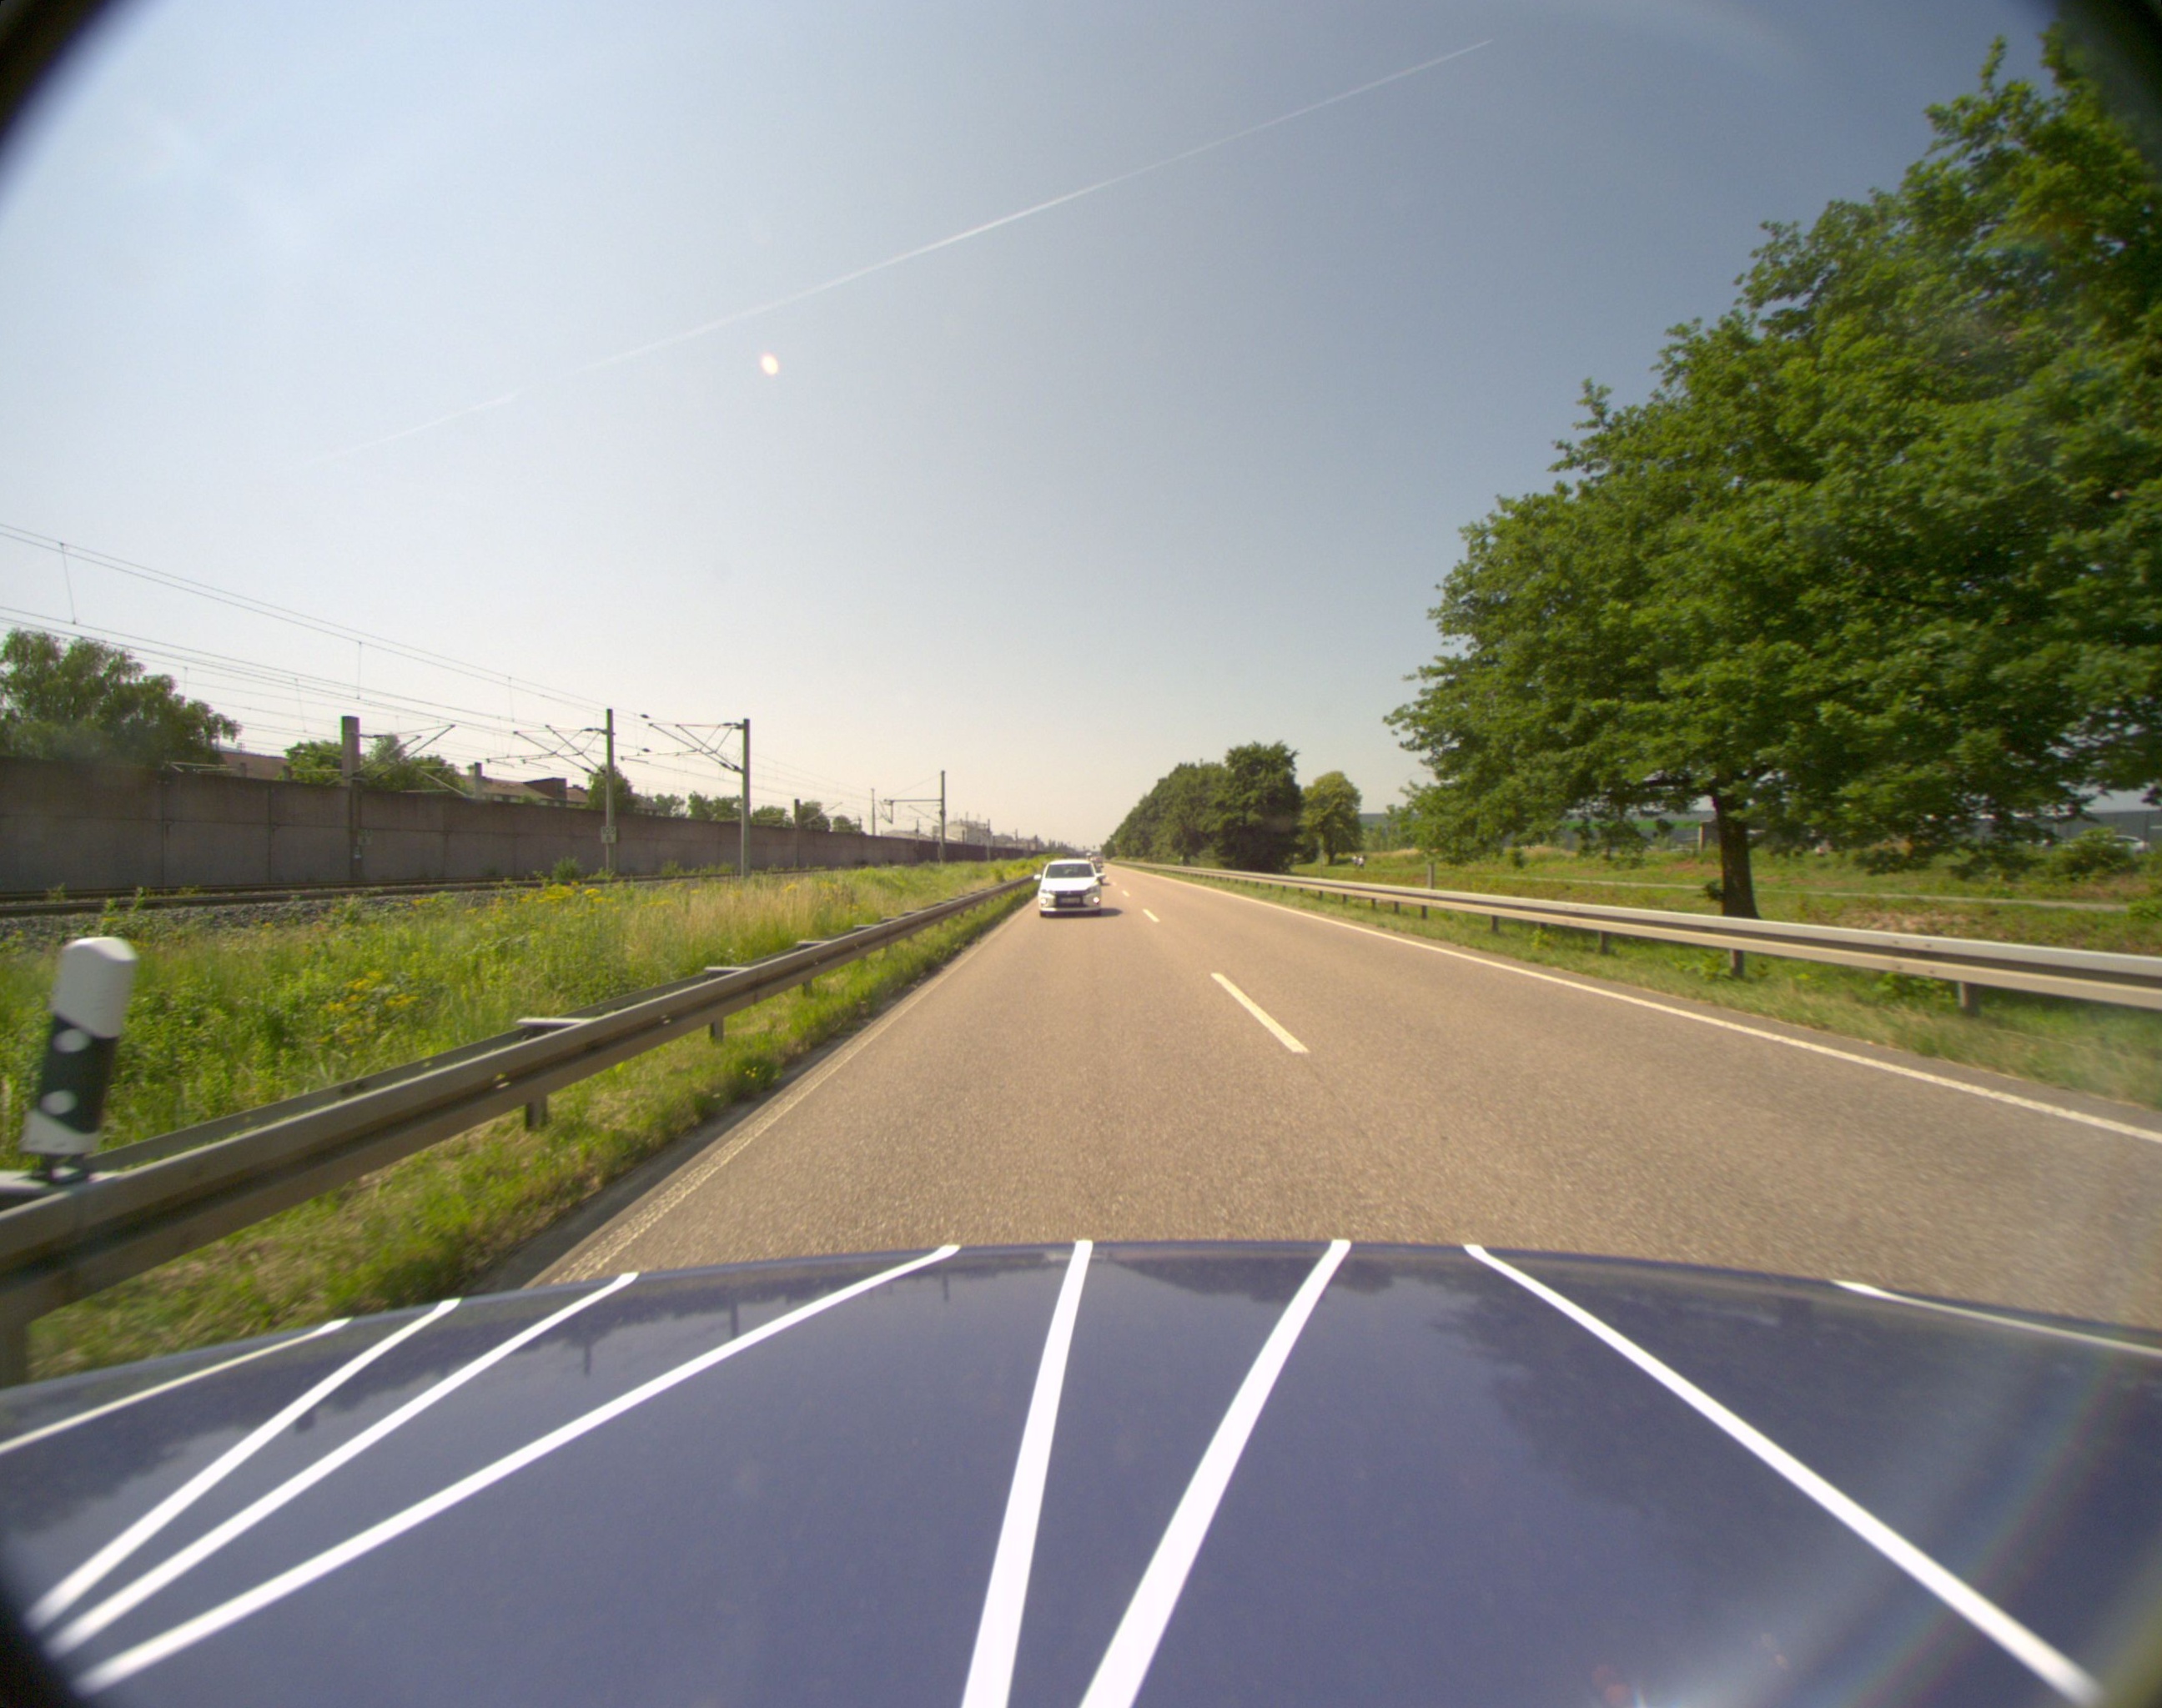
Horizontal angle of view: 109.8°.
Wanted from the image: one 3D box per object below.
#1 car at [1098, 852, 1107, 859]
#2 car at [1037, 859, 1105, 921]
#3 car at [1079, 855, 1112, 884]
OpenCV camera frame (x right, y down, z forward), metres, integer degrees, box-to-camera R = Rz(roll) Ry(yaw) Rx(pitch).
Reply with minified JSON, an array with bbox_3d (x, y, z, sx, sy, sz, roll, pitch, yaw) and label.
[{"bbox_3d":[4.407,0.252,157.601,1.711,1.470,4.155,-2,0,0],"label":"car"},{"bbox_3d":[-0.247,0.922,21.301,1.701,1.470,4.155,-2,0,0],"label":"car"},{"bbox_3d":[0.783,0.828,42.322,1.711,1.470,4.155,-2,0,0],"label":"car"}]
